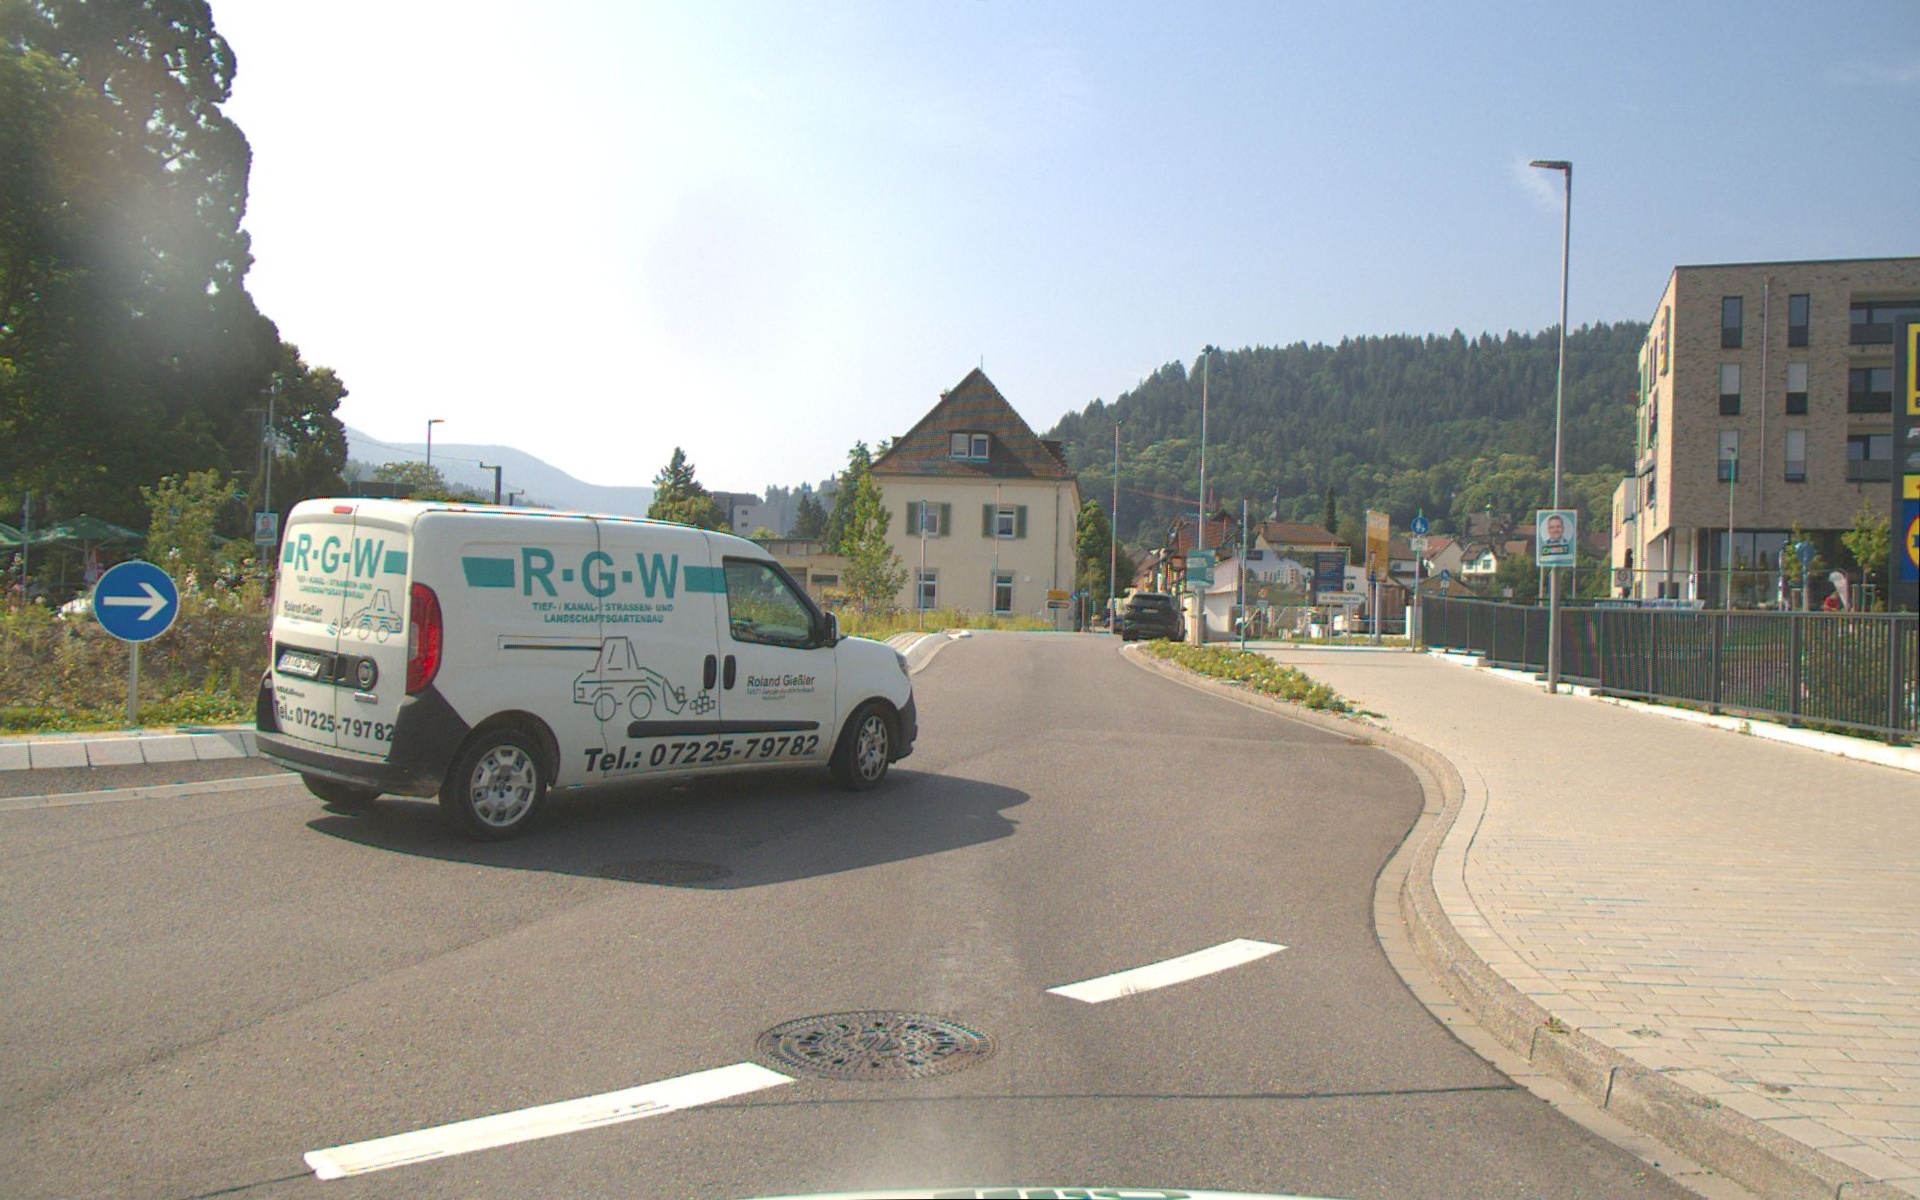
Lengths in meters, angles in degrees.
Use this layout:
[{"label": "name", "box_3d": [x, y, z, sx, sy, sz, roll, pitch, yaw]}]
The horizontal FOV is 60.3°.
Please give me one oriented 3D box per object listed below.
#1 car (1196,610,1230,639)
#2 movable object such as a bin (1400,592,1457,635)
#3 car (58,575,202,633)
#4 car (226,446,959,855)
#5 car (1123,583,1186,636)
[{"label": "car", "box_3d": [18.543, 1.772, 121.282, 1.952, 2.049, 4.001, 1, -1, 2]}, {"label": "movable object such as a bin", "box_3d": [20.813, 0.606, 73.557, 2.391, 1.876, 1.429, 1, -1, 14]}, {"label": "car", "box_3d": [-18.370, 0.084, 36.756, 1.359, 1.192, 3.245, 1, 0, 4]}, {"label": "car", "box_3d": [-2.161, 0.167, 10.868, 1.779, 2.113, 4.581, 4, 3, 39]}, {"label": "car", "box_3d": [6.583, 0.348, 55.649, 1.841, 1.713, 4.003, 1, -1, 10]}]
